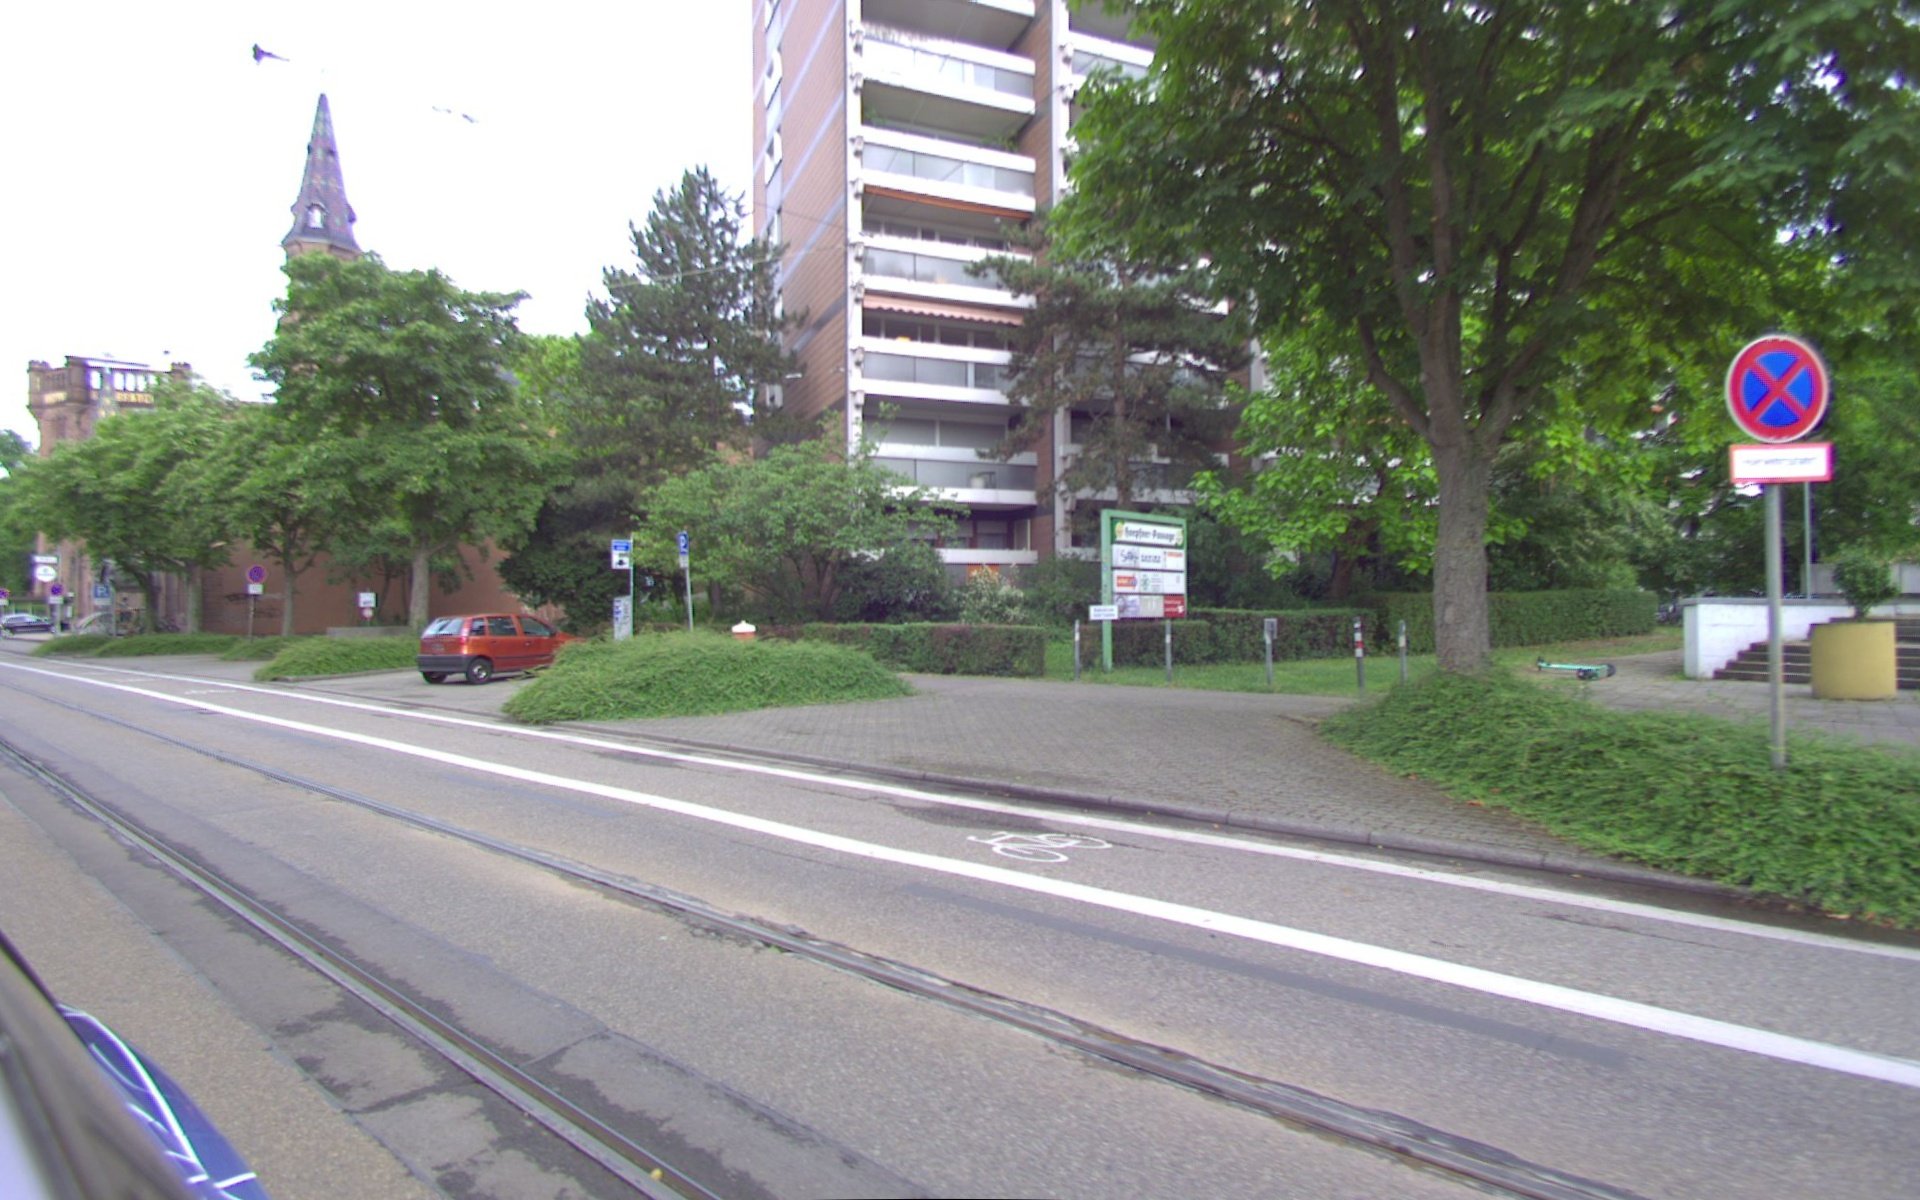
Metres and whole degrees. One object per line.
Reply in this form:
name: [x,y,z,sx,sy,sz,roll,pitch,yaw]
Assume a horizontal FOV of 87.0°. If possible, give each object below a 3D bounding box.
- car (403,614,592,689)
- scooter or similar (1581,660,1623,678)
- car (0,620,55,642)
car: [-9.842,1.038,21.793,1.626,1.387,3.471,0,0,27]
scooter or similar: [10.738,1.150,16.917,1.202,0.173,0.297,-3,3,-43]
car: [-70.443,2.285,75.883,1.798,1.541,3.792,-1,0,45]
